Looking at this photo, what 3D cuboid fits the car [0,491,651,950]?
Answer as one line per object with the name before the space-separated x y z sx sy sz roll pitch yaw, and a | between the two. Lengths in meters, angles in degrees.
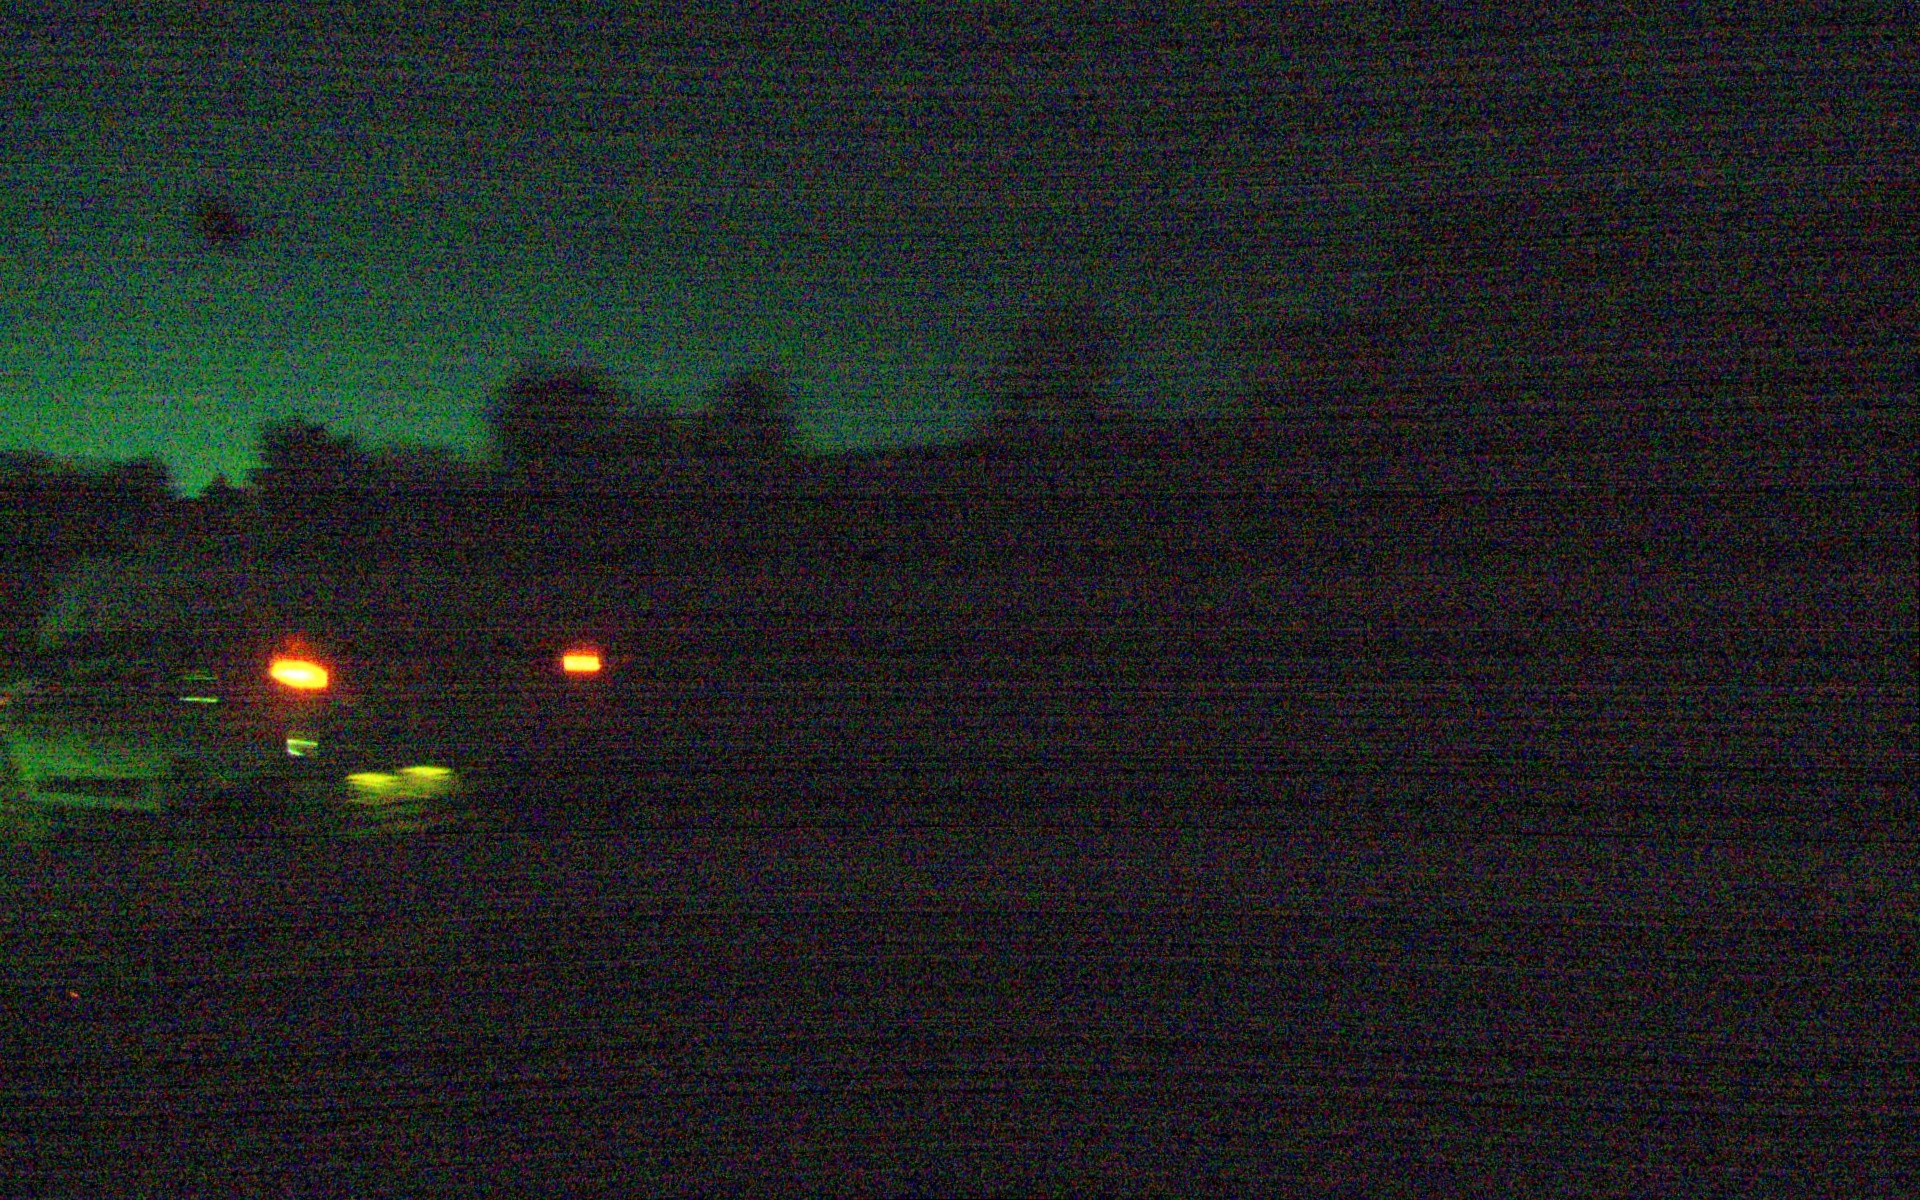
car | -4.833 0.620 6.831 5.584 2.026 2.112 -2 -2 32
